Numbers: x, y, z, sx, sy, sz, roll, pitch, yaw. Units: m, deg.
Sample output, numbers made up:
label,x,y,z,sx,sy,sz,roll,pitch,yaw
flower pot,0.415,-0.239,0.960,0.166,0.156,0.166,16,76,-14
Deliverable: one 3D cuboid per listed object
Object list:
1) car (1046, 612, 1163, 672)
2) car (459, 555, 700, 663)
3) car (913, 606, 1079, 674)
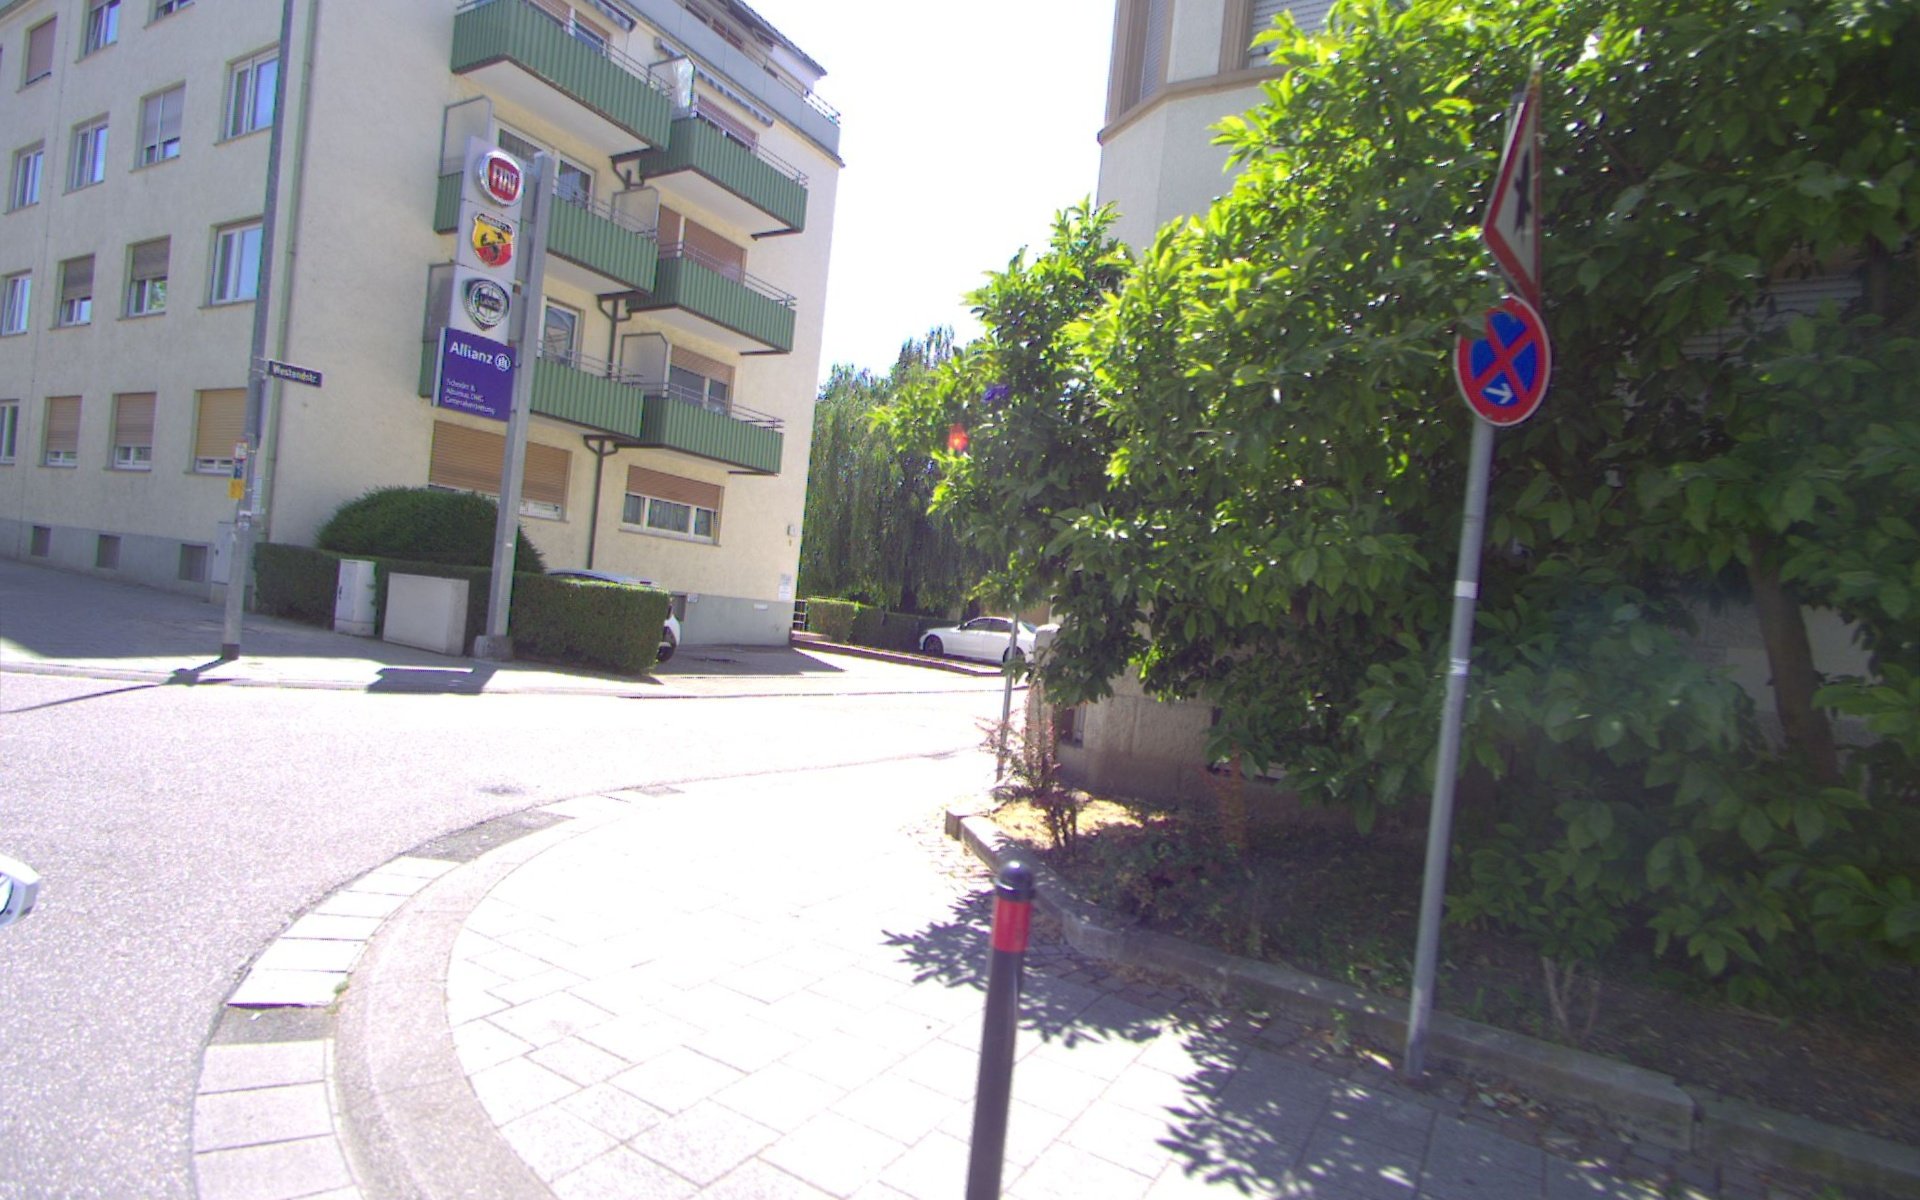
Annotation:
label,x,y,z,sx,sy,sz,roll,pitch,yaw
car,5.250,1.535,36.596,3.706,1.707,1.696,7,0,27
car,-6.781,0.160,17.931,3.787,1.434,1.841,7,0,26
car,1.066,1.189,30.400,4.510,1.479,1.996,6,0,31
